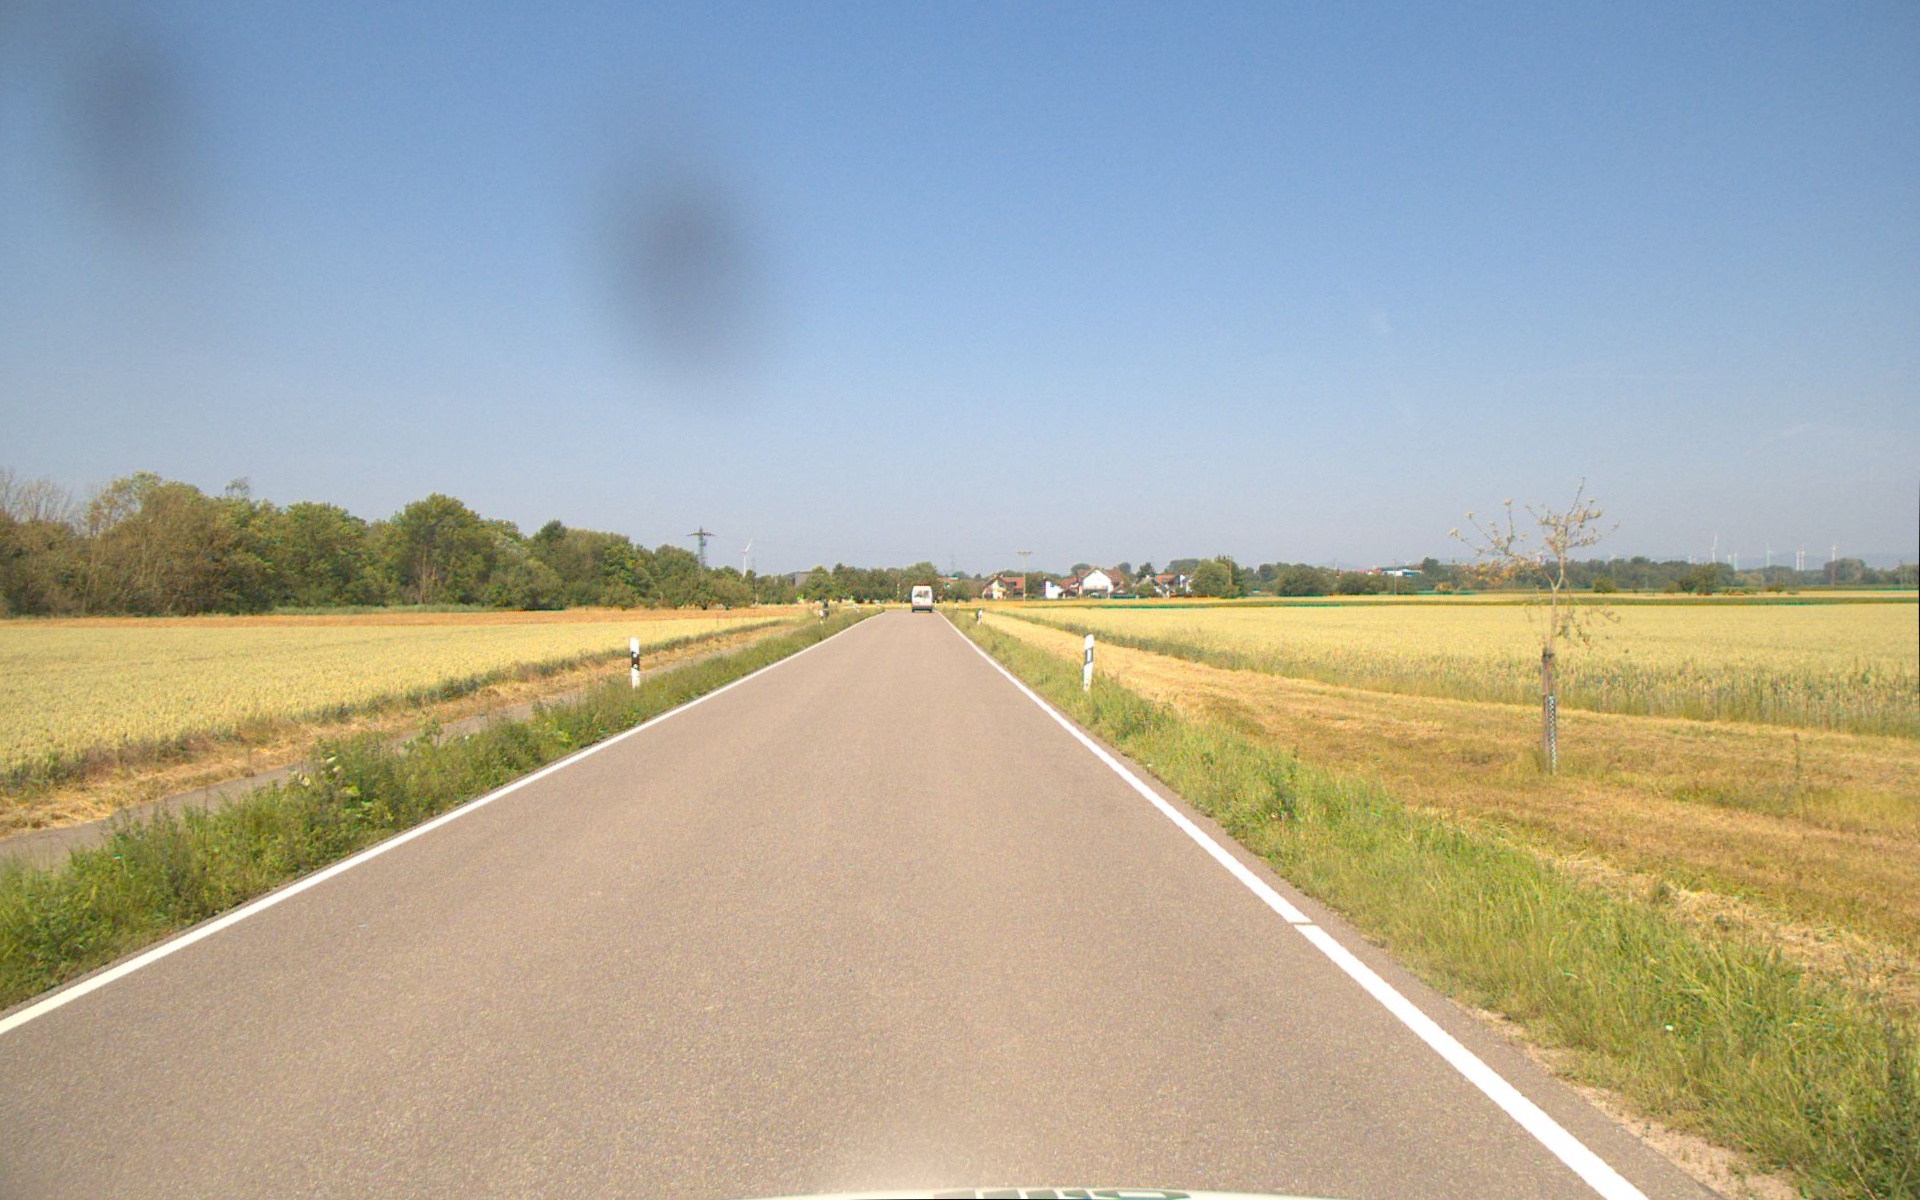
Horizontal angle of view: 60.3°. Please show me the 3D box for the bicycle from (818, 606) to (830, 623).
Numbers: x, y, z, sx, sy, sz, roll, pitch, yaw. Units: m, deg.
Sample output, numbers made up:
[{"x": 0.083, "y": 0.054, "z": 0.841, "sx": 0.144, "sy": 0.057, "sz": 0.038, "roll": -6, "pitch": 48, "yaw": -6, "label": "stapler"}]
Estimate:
[{"x": -10.331, "y": 1.111, "z": 125.373, "sx": 0.744, "sy": 1.257, "sz": 2.393, "roll": -2, "pitch": 0, "yaw": -1, "label": "bicycle"}]

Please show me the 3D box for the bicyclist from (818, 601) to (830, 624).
[{"x": -10.318, "y": 0.920, "z": 125.400, "sx": 0.744, "sy": 1.702, "sz": 1.088, "roll": -2, "pitch": 0, "yaw": -2, "label": "bicyclist"}]

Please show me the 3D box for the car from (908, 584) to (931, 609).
[{"x": -3.888, "y": -0.298, "z": 158.765, "sx": 2.065, "sy": 2.344, "sz": 5.493, "roll": 1, "pitch": 0, "yaw": -2, "label": "car"}]
